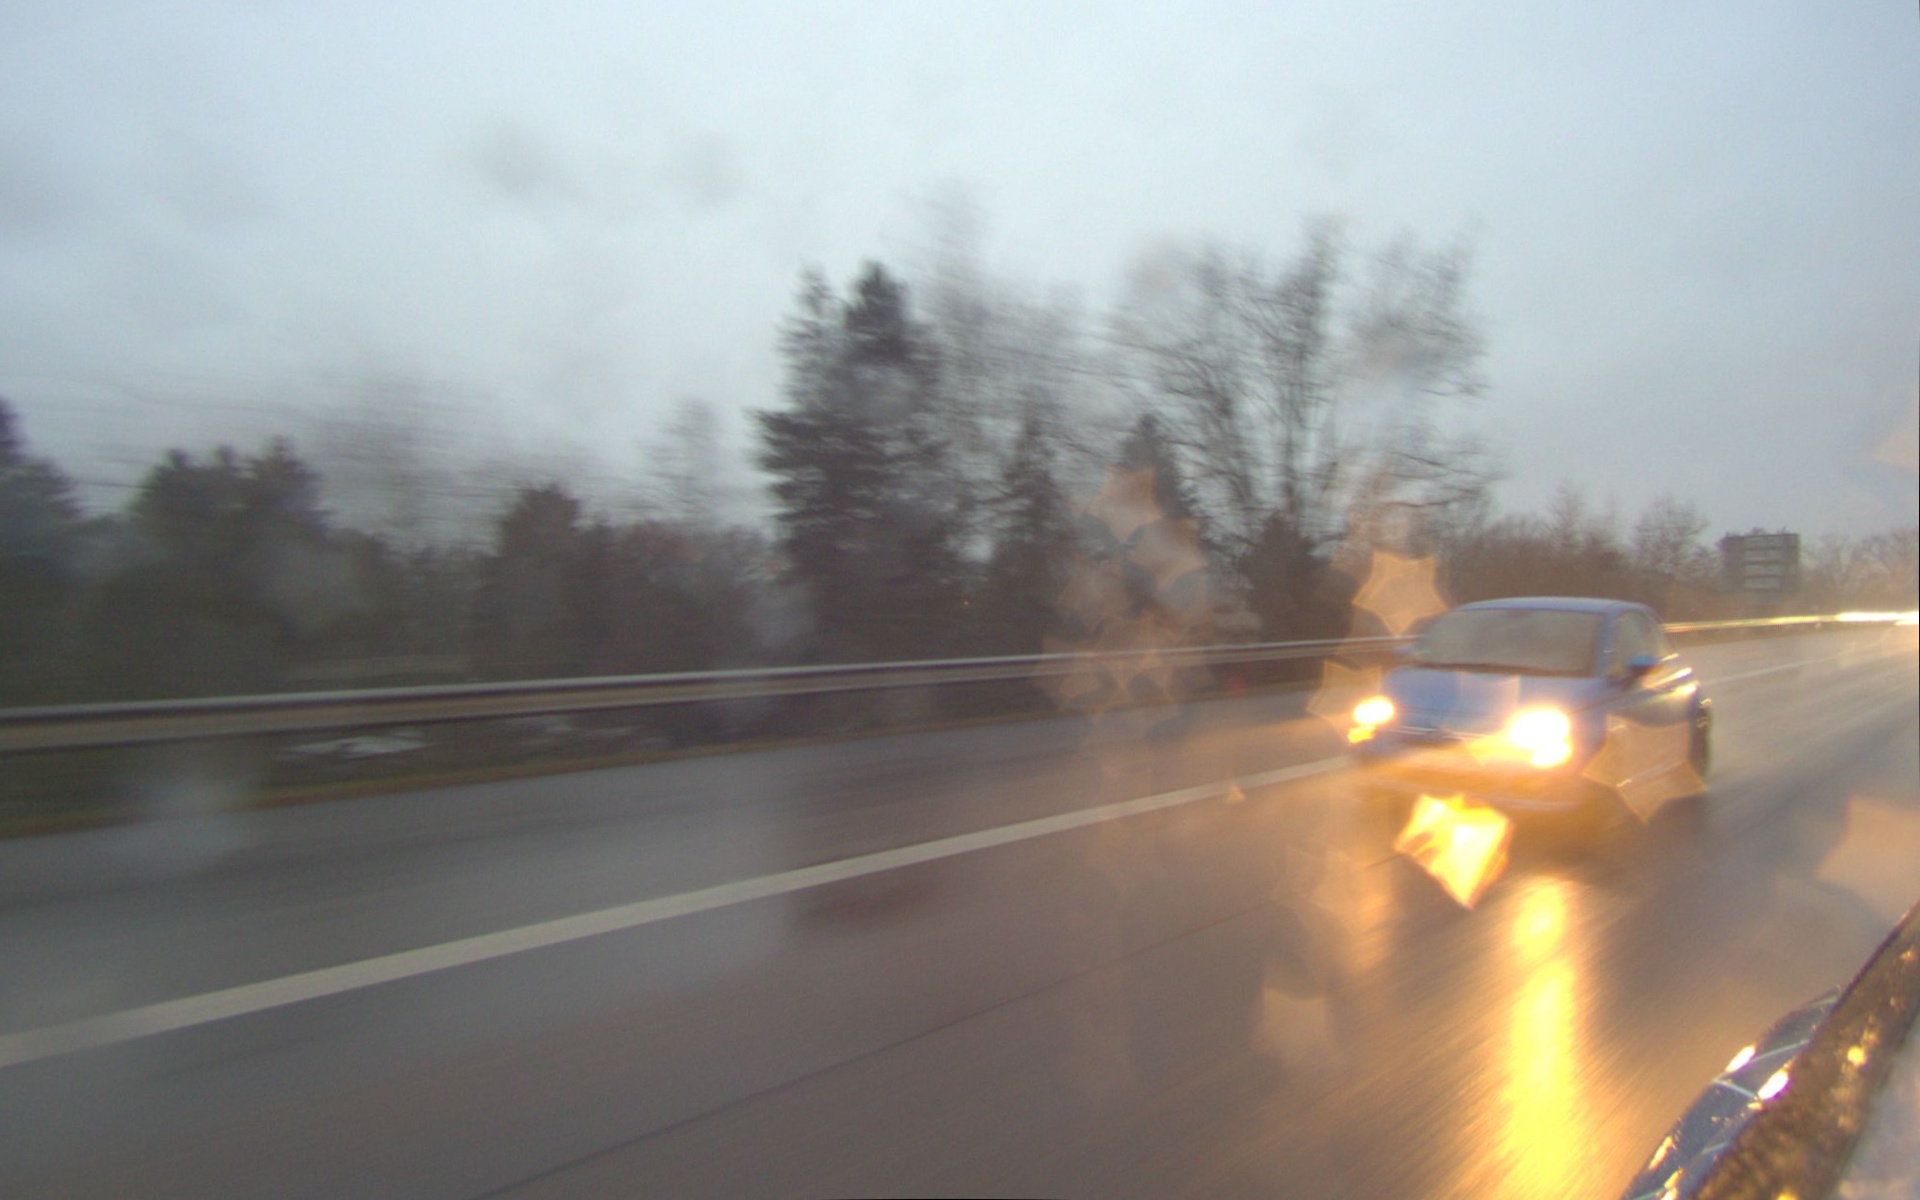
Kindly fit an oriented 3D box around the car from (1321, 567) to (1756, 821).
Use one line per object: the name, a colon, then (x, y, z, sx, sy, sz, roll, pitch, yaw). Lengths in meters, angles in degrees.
car: (4.707, 0.505, 7.969, 4.079, 1.472, 1.847, -2, 1, -43)
